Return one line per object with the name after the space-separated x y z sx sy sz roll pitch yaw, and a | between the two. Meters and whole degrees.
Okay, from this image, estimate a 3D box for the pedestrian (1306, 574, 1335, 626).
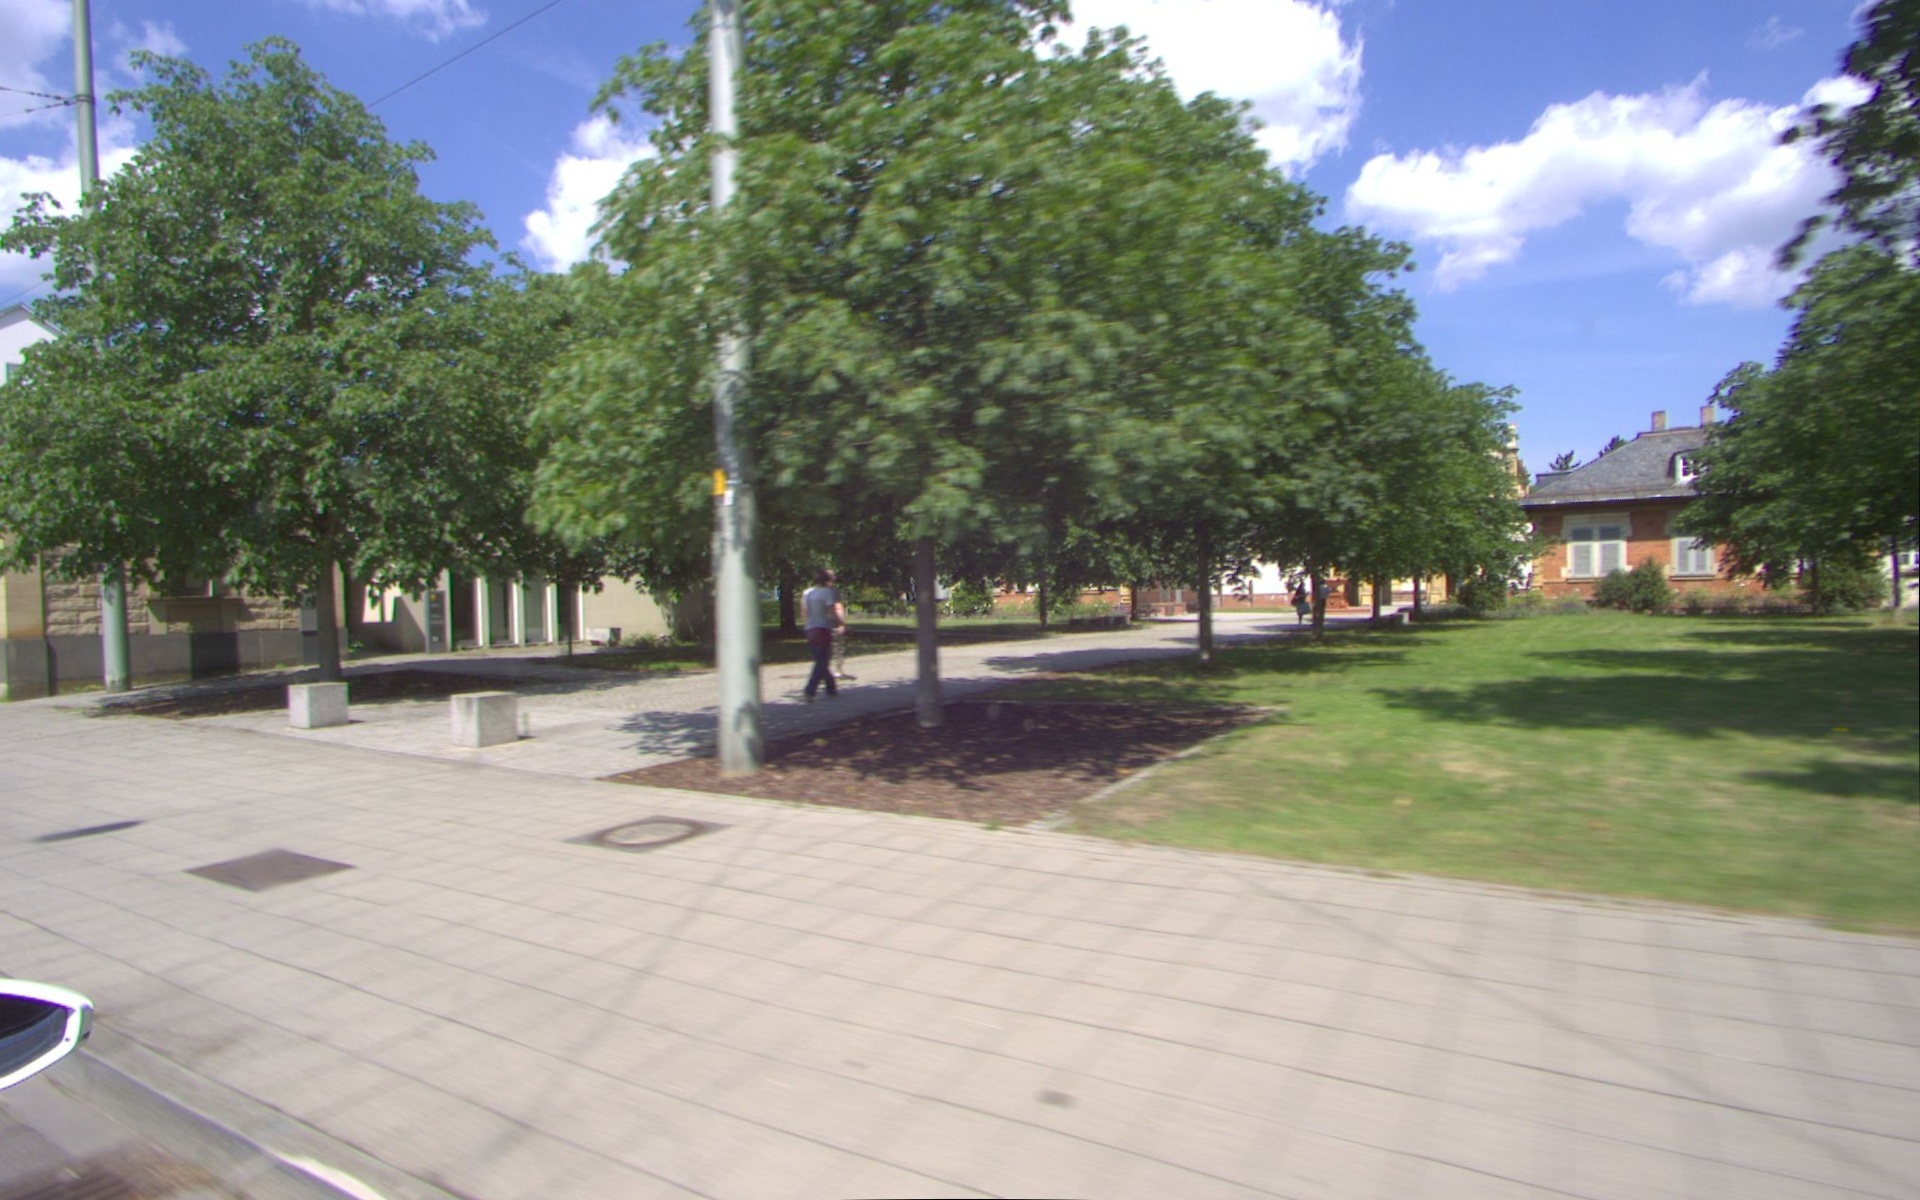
12.883 -0.012 35.785 0.799 1.822 0.673 0 2 37 | pedestrian

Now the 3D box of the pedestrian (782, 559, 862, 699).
-1.860 0.376 13.494 0.799 1.822 0.673 0 2 37 | pedestrian

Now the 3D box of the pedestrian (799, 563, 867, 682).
-1.998 0.342 15.770 0.799 1.804 0.673 0 2 37 | pedestrian

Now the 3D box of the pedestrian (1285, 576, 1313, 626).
12.452 0.025 36.753 0.799 1.822 0.673 0 2 37 | pedestrian
